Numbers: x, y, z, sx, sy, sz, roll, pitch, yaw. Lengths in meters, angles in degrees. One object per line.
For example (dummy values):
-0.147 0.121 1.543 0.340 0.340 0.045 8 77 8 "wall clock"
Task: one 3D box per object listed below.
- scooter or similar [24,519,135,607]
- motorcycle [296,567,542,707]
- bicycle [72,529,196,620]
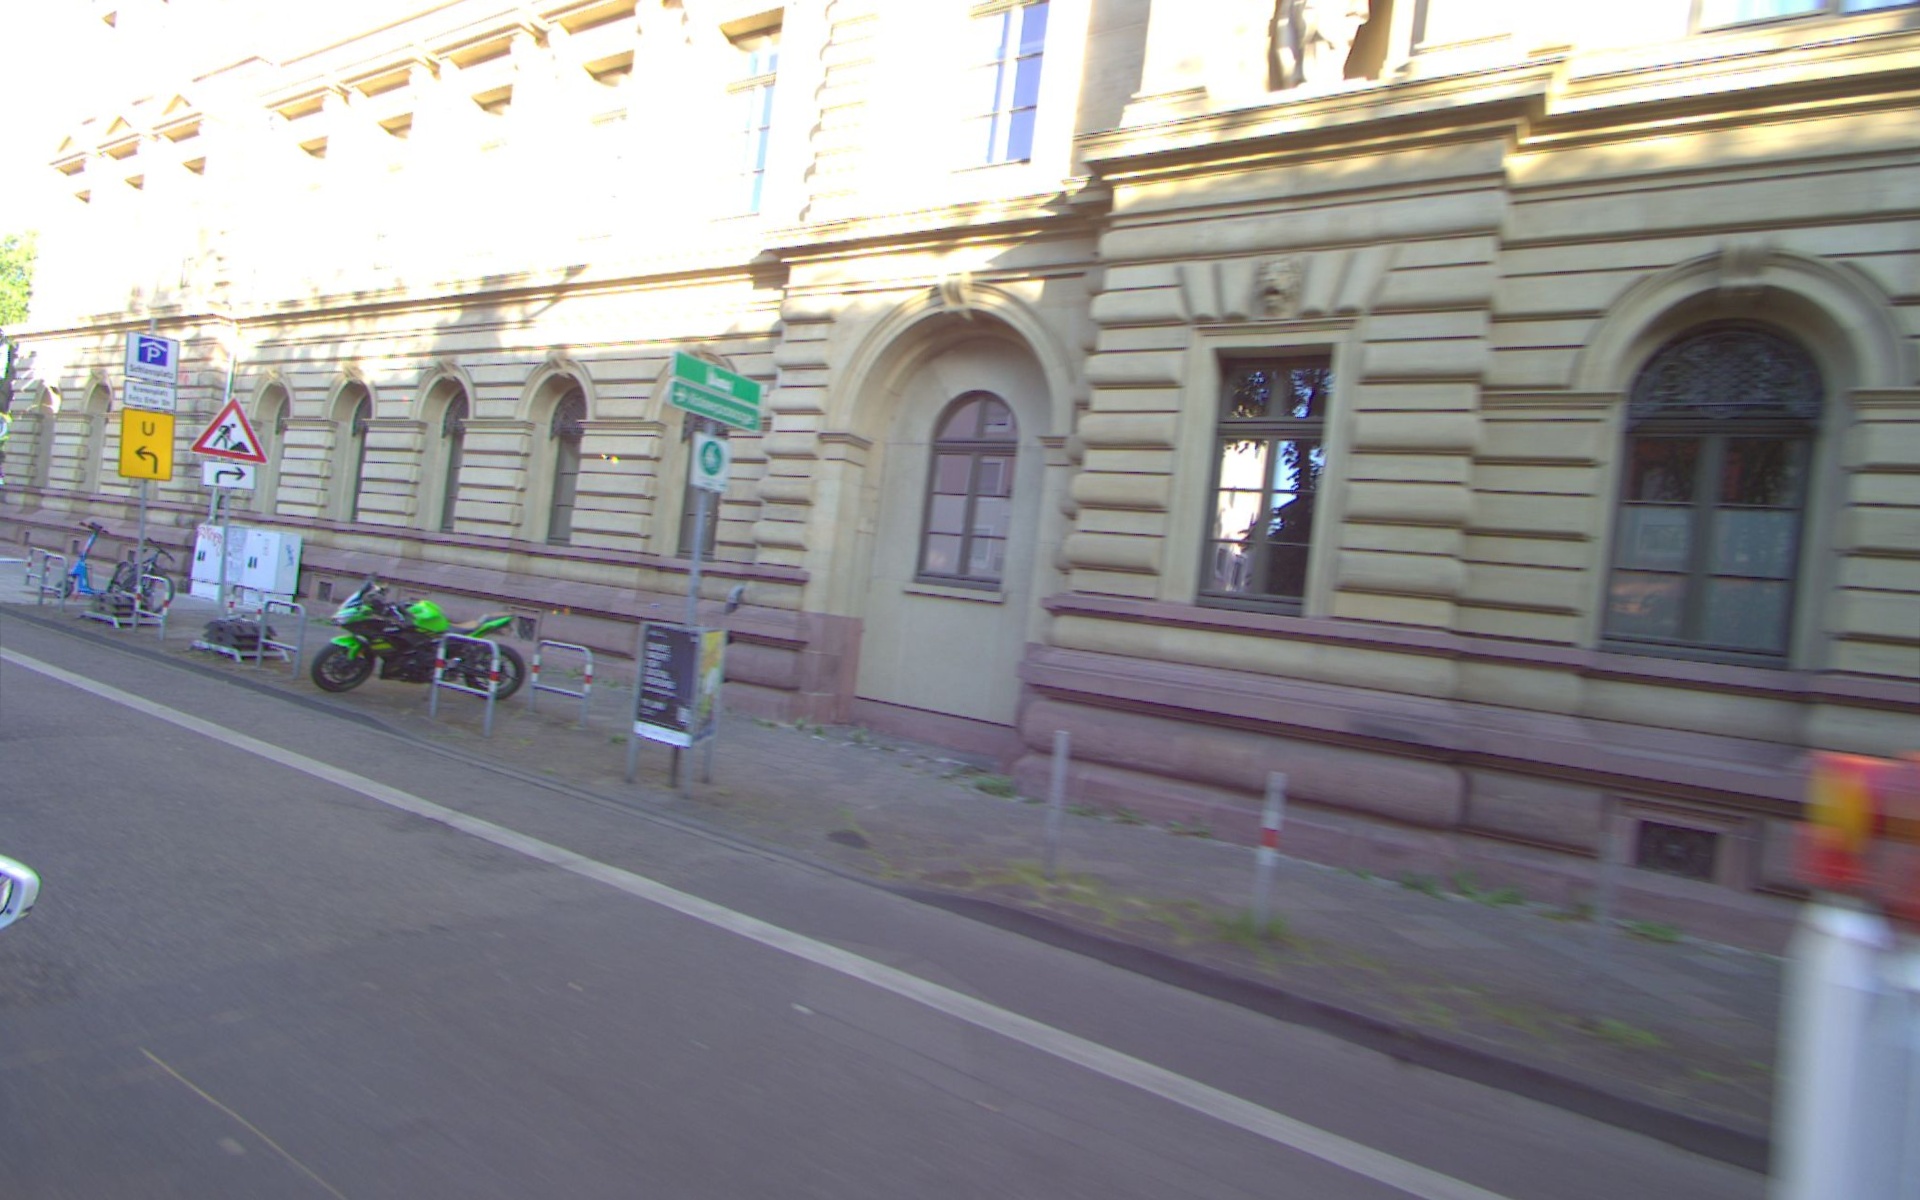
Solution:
-13.891 -0.574 15.893 0.575 1.209 1.130 7 -1 38 "scooter or similar"
-5.526 0.399 10.387 2.080 1.230 0.705 6 1 -30 "motorcycle"
-12.502 -0.392 15.213 1.912 1.149 0.827 7 2 32 "bicycle"
